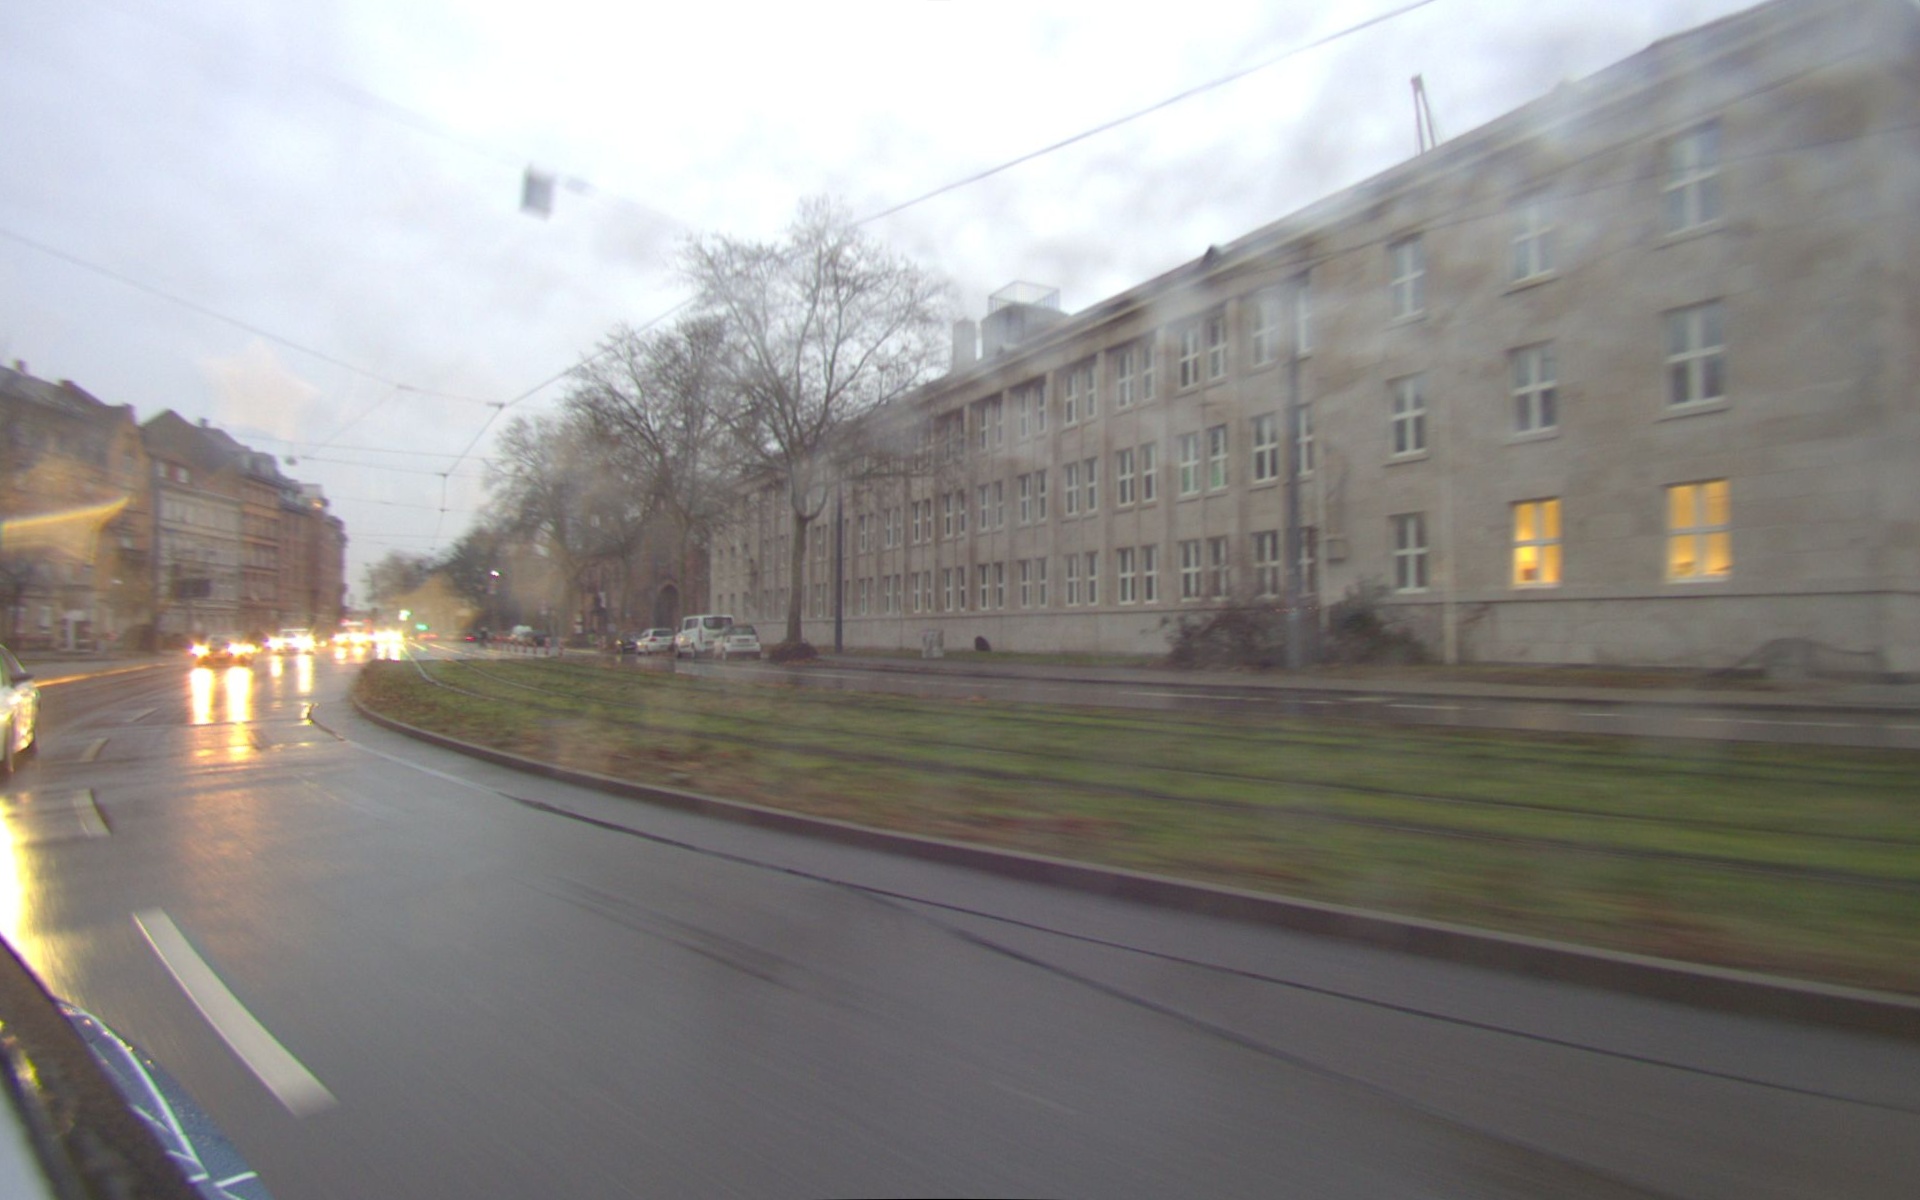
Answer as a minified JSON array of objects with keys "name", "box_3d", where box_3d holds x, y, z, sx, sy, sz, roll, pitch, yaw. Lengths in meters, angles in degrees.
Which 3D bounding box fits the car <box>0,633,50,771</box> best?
[{"name":"car","box_3d":[-11.317,1.120,10.925,1.688,1.423,3.689,-2,0,-34]}]

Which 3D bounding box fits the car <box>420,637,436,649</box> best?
[{"name":"car","box_3d":[-83.713,6.691,159.344,1.920,1.829,4.013,0,-2,-23]}]

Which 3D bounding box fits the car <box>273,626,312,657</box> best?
[{"name":"car","box_3d":[-40.258,2.469,61.102,1.647,1.672,4.161,-2,0,-29]}]

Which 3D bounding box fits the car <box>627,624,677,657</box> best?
[{"name":"car","box_3d":[-17.366,2.230,56.995,1.796,1.667,3.871,-2,0,-31]}]

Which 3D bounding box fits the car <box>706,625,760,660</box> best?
[{"name":"car","box_3d":[-9.970,1.841,44.294,1.534,1.439,2.964,0,-1,-29]}]

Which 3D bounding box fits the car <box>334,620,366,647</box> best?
[{"name":"car","box_3d":[-57.698,3.144,95.850,2.094,2.398,5.656,-1,0,-26]}]

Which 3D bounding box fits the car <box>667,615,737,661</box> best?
[{"name":"car","box_3d":[-12.323,1.759,48.133,1.966,2.029,4.523,-2,0,-31]}]

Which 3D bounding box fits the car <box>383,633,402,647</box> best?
[{"name":"car","box_3d":[-70.916,4.988,126.415,1.622,1.763,3.566,1,-2,-23]}]

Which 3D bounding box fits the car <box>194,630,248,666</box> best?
[{"name":"car","box_3d":[-30.422,1.962,41.726,1.564,1.437,3.142,1,-2,-32]}]

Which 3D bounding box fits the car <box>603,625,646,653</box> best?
[{"name":"car","box_3d":[-20.771,2.395,62.648,1.589,1.673,3.620,1,-2,-34]}]
